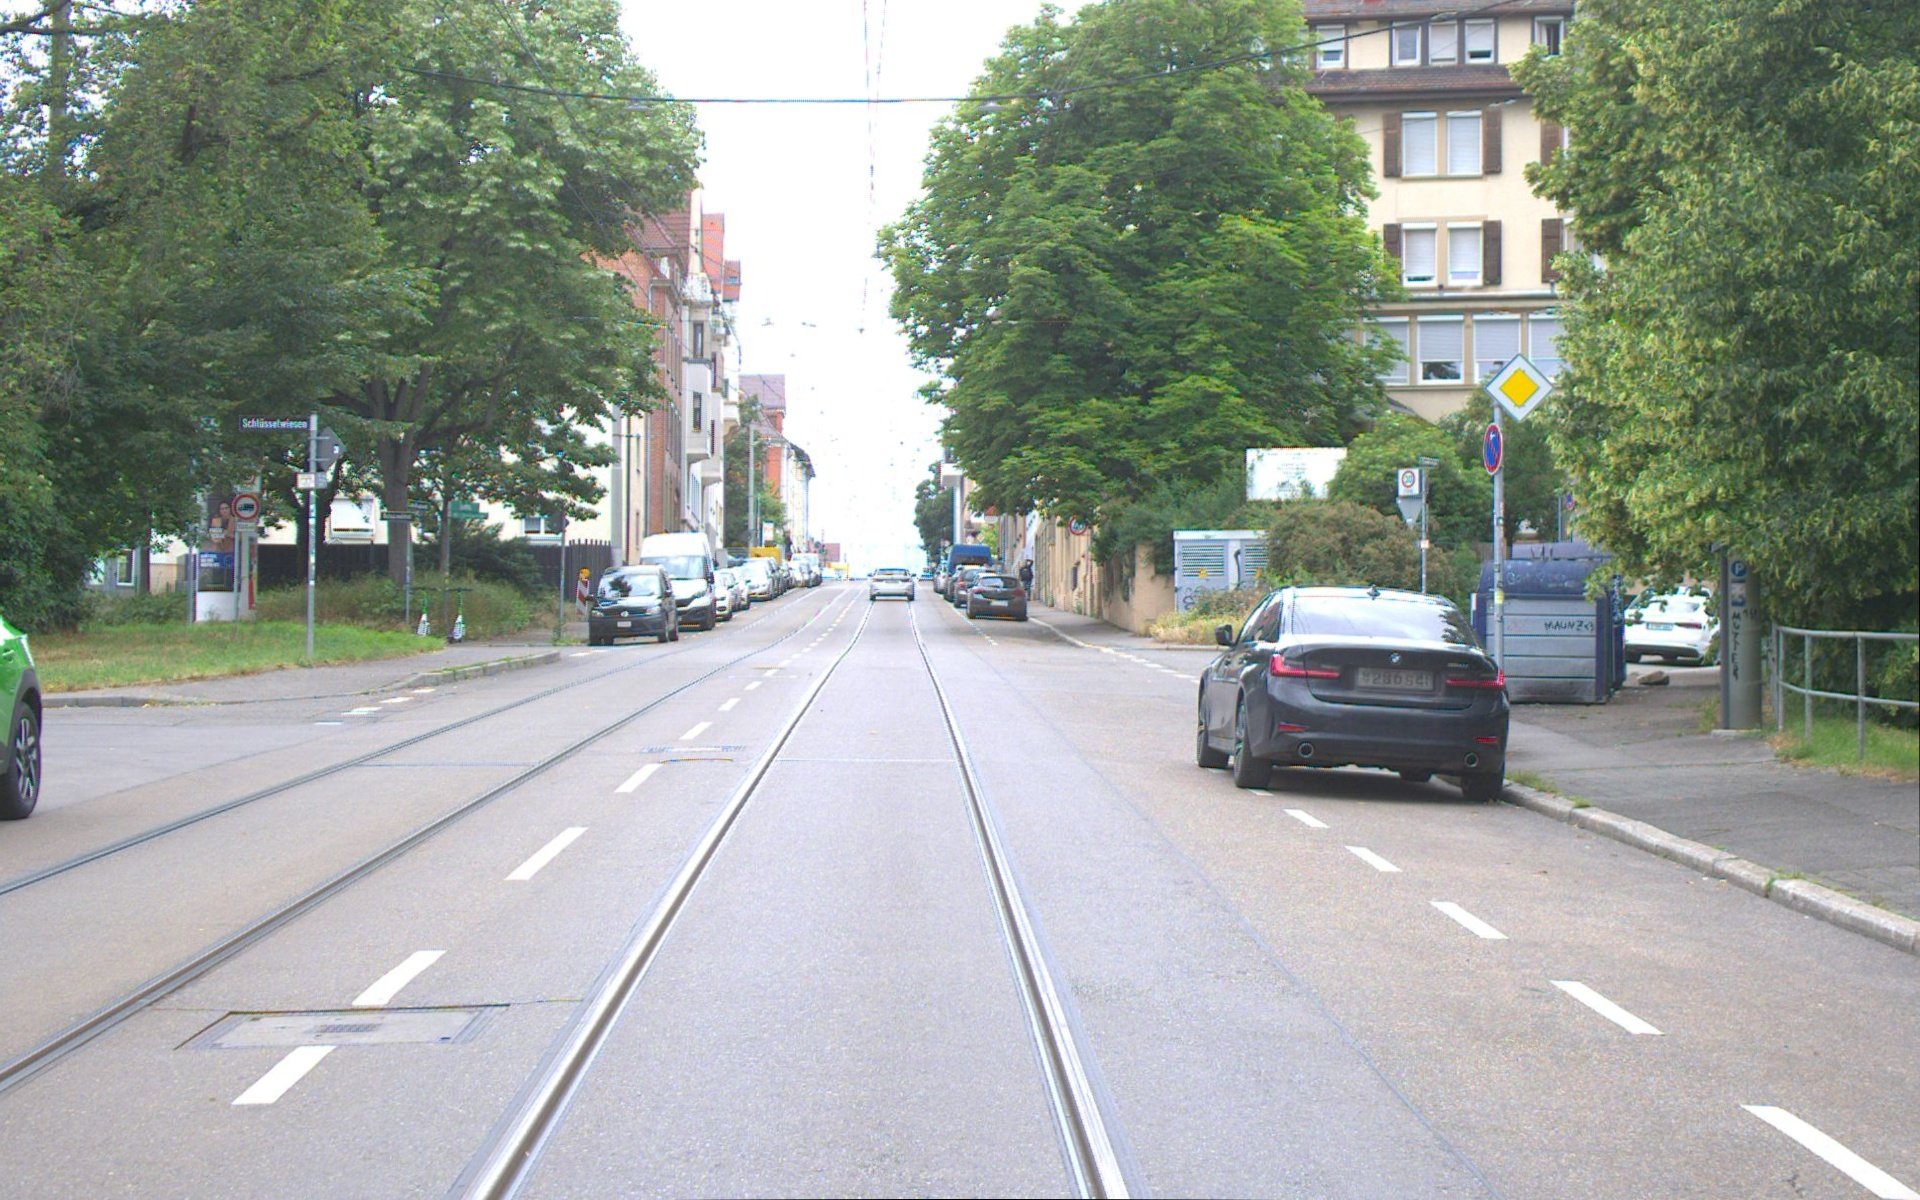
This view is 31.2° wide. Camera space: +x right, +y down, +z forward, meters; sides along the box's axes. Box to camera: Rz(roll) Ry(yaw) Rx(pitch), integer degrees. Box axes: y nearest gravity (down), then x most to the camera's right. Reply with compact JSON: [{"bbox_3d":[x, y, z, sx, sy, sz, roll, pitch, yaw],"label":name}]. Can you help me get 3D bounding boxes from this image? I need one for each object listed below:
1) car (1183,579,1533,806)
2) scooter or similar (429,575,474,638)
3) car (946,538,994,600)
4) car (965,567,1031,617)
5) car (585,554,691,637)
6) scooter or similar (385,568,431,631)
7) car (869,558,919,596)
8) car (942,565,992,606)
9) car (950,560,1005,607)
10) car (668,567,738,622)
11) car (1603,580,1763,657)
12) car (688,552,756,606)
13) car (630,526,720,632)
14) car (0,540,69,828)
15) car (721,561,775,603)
[{"bbox_3d":[2.789,0.604,25.140,1.828,1.425,4.848,3,0,-1],"label":"car"},{"bbox_3d":[-10.937,0.137,73.995,0.691,1.334,1.639,1,0,0],"label":"scooter or similar"},{"bbox_3d":[0.404,-1.313,146.735,1.993,2.565,4.705,0,0,-1],"label":"car"},{"bbox_3d":[1.179,-0.238,107.796,1.993,1.525,4.312,1,0,0],"label":"car"},{"bbox_3d":[-7.362,-0.092,78.950,1.993,1.802,4.000,1,0,0],"label":"car"},{"bbox_3d":[-11.889,-0.015,74.101,0.691,1.334,1.639,1,0,0],"label":"scooter or similar"},{"bbox_3d":[-2.738,-0.929,142.378,1.993,1.493,4.312,1,0,-1],"label":"car"},{"bbox_3d":[0.279,-0.603,141.229,1.993,1.645,4.000,0,0,-1],"label":"car"},{"bbox_3d":[0.655,-0.613,129.249,1.993,1.711,4.000,0,0,-1],"label":"car"},{"bbox_3d":[-7.734,-0.164,103.756,1.993,1.595,4.312,1,0,-3],"label":"car"},{"bbox_3d":[14.606,0.384,69.312,1.996,1.474,4.457,1,0,28],"label":"car"},{"bbox_3d":[-8.286,-0.723,120.032,1.993,1.806,4.312,1,0,0],"label":"car"},{"bbox_3d":[-7.699,-0.541,93.439,2.230,2.755,5.800,1,0,-3],"label":"car"},{"bbox_3d":[-6.109,0.471,18.235,1.723,1.574,4.181,0,1,-1],"label":"car"},{"bbox_3d":[-8.441,-0.695,137.272,1.924,1.596,4.000,1,0,-1],"label":"car"}]
